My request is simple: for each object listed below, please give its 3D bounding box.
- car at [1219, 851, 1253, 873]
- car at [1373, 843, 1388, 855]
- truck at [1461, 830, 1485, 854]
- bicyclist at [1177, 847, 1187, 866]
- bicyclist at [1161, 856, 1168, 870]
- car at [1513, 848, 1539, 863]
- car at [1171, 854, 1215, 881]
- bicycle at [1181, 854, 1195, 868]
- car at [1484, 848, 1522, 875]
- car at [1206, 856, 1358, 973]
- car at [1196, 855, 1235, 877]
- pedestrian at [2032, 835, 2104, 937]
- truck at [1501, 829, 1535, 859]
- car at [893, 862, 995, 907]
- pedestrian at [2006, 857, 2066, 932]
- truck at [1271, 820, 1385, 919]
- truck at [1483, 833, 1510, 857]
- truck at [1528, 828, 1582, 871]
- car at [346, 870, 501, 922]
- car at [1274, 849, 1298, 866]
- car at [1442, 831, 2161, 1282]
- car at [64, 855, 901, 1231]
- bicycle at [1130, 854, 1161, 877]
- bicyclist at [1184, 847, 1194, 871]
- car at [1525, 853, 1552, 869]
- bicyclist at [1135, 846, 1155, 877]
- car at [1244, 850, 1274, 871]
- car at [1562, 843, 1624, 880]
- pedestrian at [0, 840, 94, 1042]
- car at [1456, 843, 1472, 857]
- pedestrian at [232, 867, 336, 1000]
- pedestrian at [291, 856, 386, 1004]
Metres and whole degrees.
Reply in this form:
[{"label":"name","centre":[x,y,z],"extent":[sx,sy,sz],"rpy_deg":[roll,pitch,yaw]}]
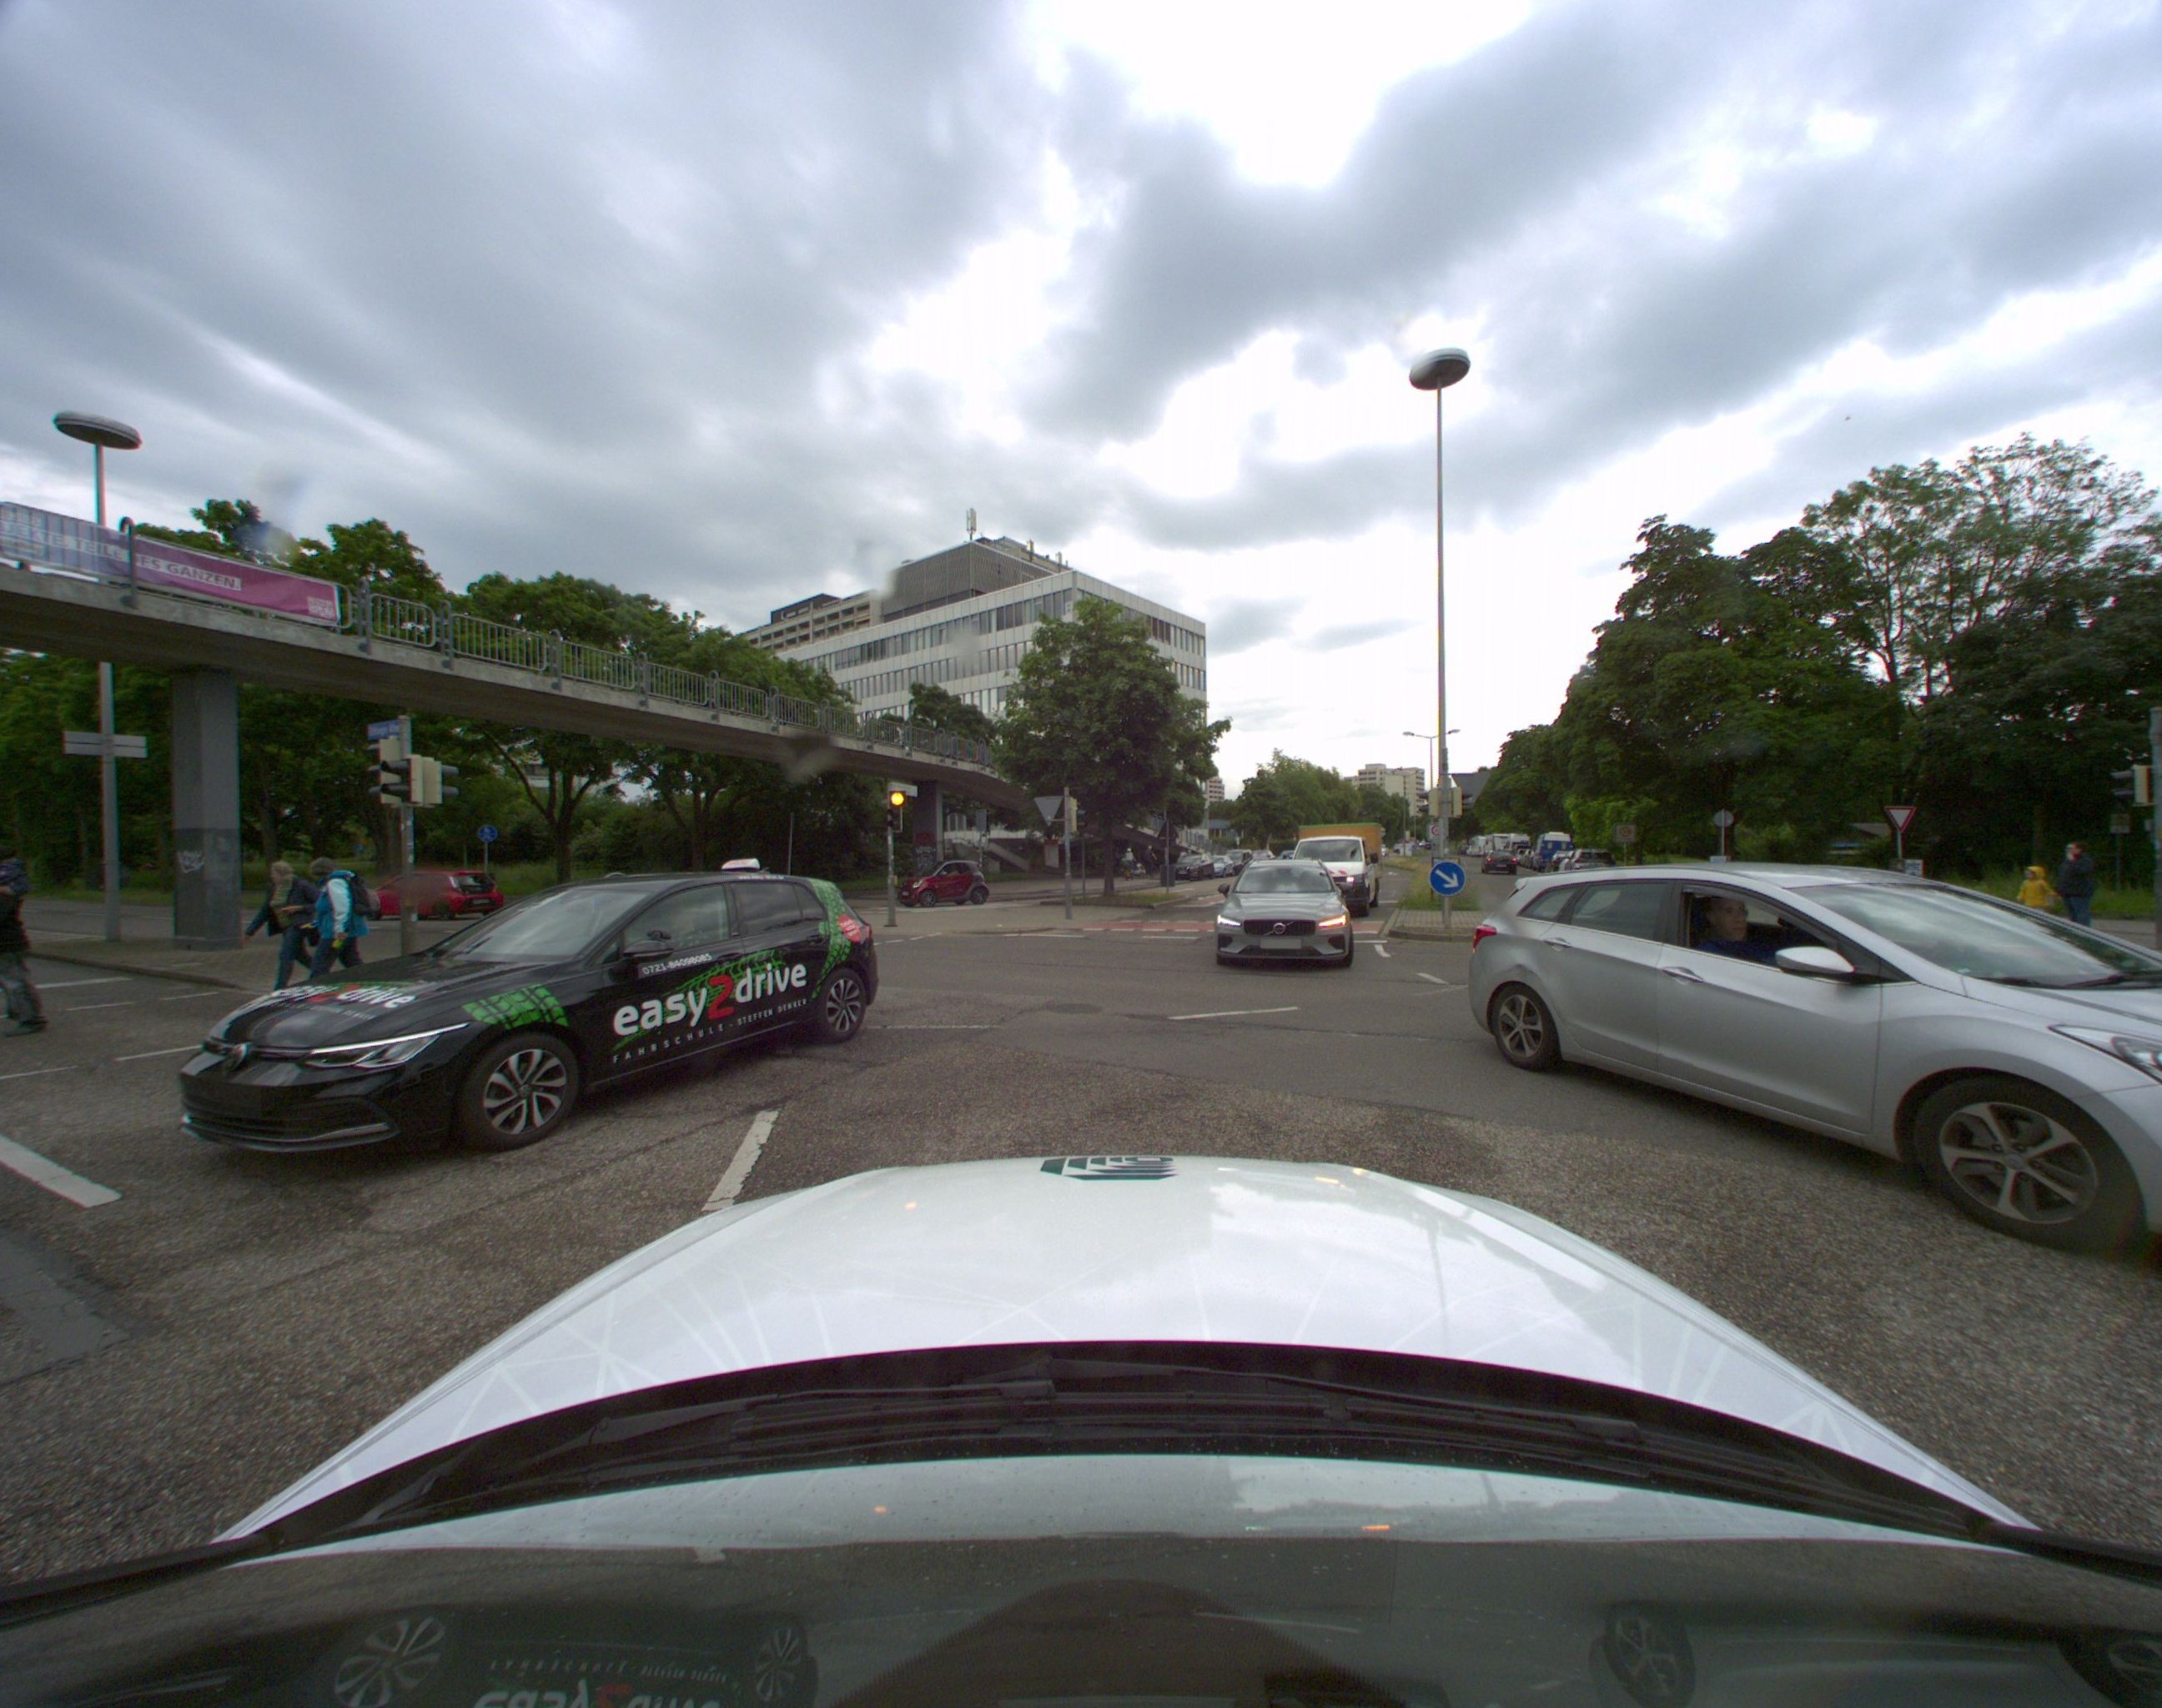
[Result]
[{"label":"car","centre":[11.285,0.564,59.155],"extent":[1.657,1.552,3.783],"rpy_deg":[-1,1,23]},{"label":"car","centre":[41.494,-0.687,112.760],"extent":[1.630,1.593,4.022],"rpy_deg":[-1,0,24]},{"label":"truck","centre":[49.472,-1.467,102.868],"extent":[1.977,3.009,5.799],"rpy_deg":[-1,0,19]},{"label":"bicyclist","centre":[6.630,0.165,53.502],"extent":[0.401,1.180,0.379],"rpy_deg":[9,5,23]},{"label":"bicyclist","centre":[7.326,0.782,71.391],"extent":[0.427,1.218,0.570],"rpy_deg":[-1,-2,21]},{"label":"car","centre":[37.224,0.140,68.183],"extent":[1.313,1.191,3.672],"rpy_deg":[-1,0,20]},{"label":"car","centre":[6.804,0.781,49.228],"extent":[1.657,1.552,3.913],"rpy_deg":[-1,1,23]},{"label":"bicycle","centre":[7.482,0.492,57.000],"extent":[0.521,0.949,1.718],"rpy_deg":[-1,0,23]},{"label":"car","centre":[25.204,0.425,48.774],"extent":[1.781,1.457,4.567],"rpy_deg":[-1,1,25]},{"label":"car","centre":[3.262,0.774,12.799],"extent":[1.882,1.420,4.757],"rpy_deg":[-1,0,17]},{"label":"car","centre":[9.004,0.783,54.299],"extent":[1.657,1.387,3.917],"rpy_deg":[-1,1,23]},{"label":"pedestrian","centre":[17.341,0.550,14.317],"extent":[0.651,1.750,0.461],"rpy_deg":[-1,0,21]},{"label":"truck","centre":[43.228,-0.967,80.609],"extent":[1.977,2.838,5.758],"rpy_deg":[-1,0,18]},{"label":"car","centre":[-4.600,0.986,27.443],"extent":[2.986,1.346,1.546],"rpy_deg":[-1,0,-37]},{"label":"pedestrian","centre":[17.499,0.727,14.927],"extent":[0.522,1.342,0.527],"rpy_deg":[-1,0,21]},{"label":"truck","centre":[6.570,0.318,21.147],"extent":[2.136,2.199,5.873],"rpy_deg":[0,0,24]},{"label":"truck","centre":[46.988,-0.982,92.178],"extent":[1.977,2.572,5.405],"rpy_deg":[-1,0,20]},{"label":"truck","centre":[31.132,-0.273,53.670],"extent":[2.156,2.656,6.279],"rpy_deg":[-1,0,22]},{"label":"car","centre":[-18.952,1.200,23.517],"extent":[3.499,1.390,1.521],"rpy_deg":[-1,0,10]},{"label":"car","centre":[19.594,0.300,77.836],"extent":[1.657,1.552,4.022],"rpy_deg":[-1,0,23]},{"label":"car","centre":[4.195,0.665,4.660],"extent":[1.789,1.519,4.310],"rpy_deg":[-1,0,-10]},{"label":"car","centre":[-3.299,0.783,5.689],"extent":[1.754,1.477,4.413],"rpy_deg":[-1,0,22]},{"label":"bicycle","centre":[3.992,0.703,50.259],"extent":[0.848,1.315,3.248],"rpy_deg":[-1,1,24]},{"label":"bicyclist","centre":[7.544,0.361,57.017],"extent":[0.560,1.644,0.534],"rpy_deg":[-1,0,25]},{"label":"car","centre":[33.207,0.517,59.158],"extent":[1.313,1.104,2.819],"rpy_deg":[-1,0,20]},{"label":"bicyclist","centre":[3.975,0.469,50.262],"extent":[0.848,1.892,1.134],"rpy_deg":[-1,1,24]},{"label":"car","centre":[14.390,0.495,65.752],"extent":[1.657,1.552,4.022],"rpy_deg":[-1,0,23]},{"label":"car","centre":[24.019,0.320,38.327],"extent":[1.768,1.662,4.021],"rpy_deg":[-1,1,22]},{"label":"pedestrian","centre":[-9.936,0.780,7.533],"extent":[0.632,1.803,0.805],"rpy_deg":[-1,0,13]},{"label":"car","centre":[55.302,-0.558,117.652],"extent":[1.638,1.918,3.937],"rpy_deg":[-1,1,18]},{"label":"pedestrian","centre":[-9.417,0.923,9.631],"extent":[0.911,1.511,0.405],"rpy_deg":[-1,0,11]},{"label":"pedestrian","centre":[-8.415,0.835,9.240],"extent":[0.681,1.604,0.490],"rpy_deg":[-1,0,17]}]
